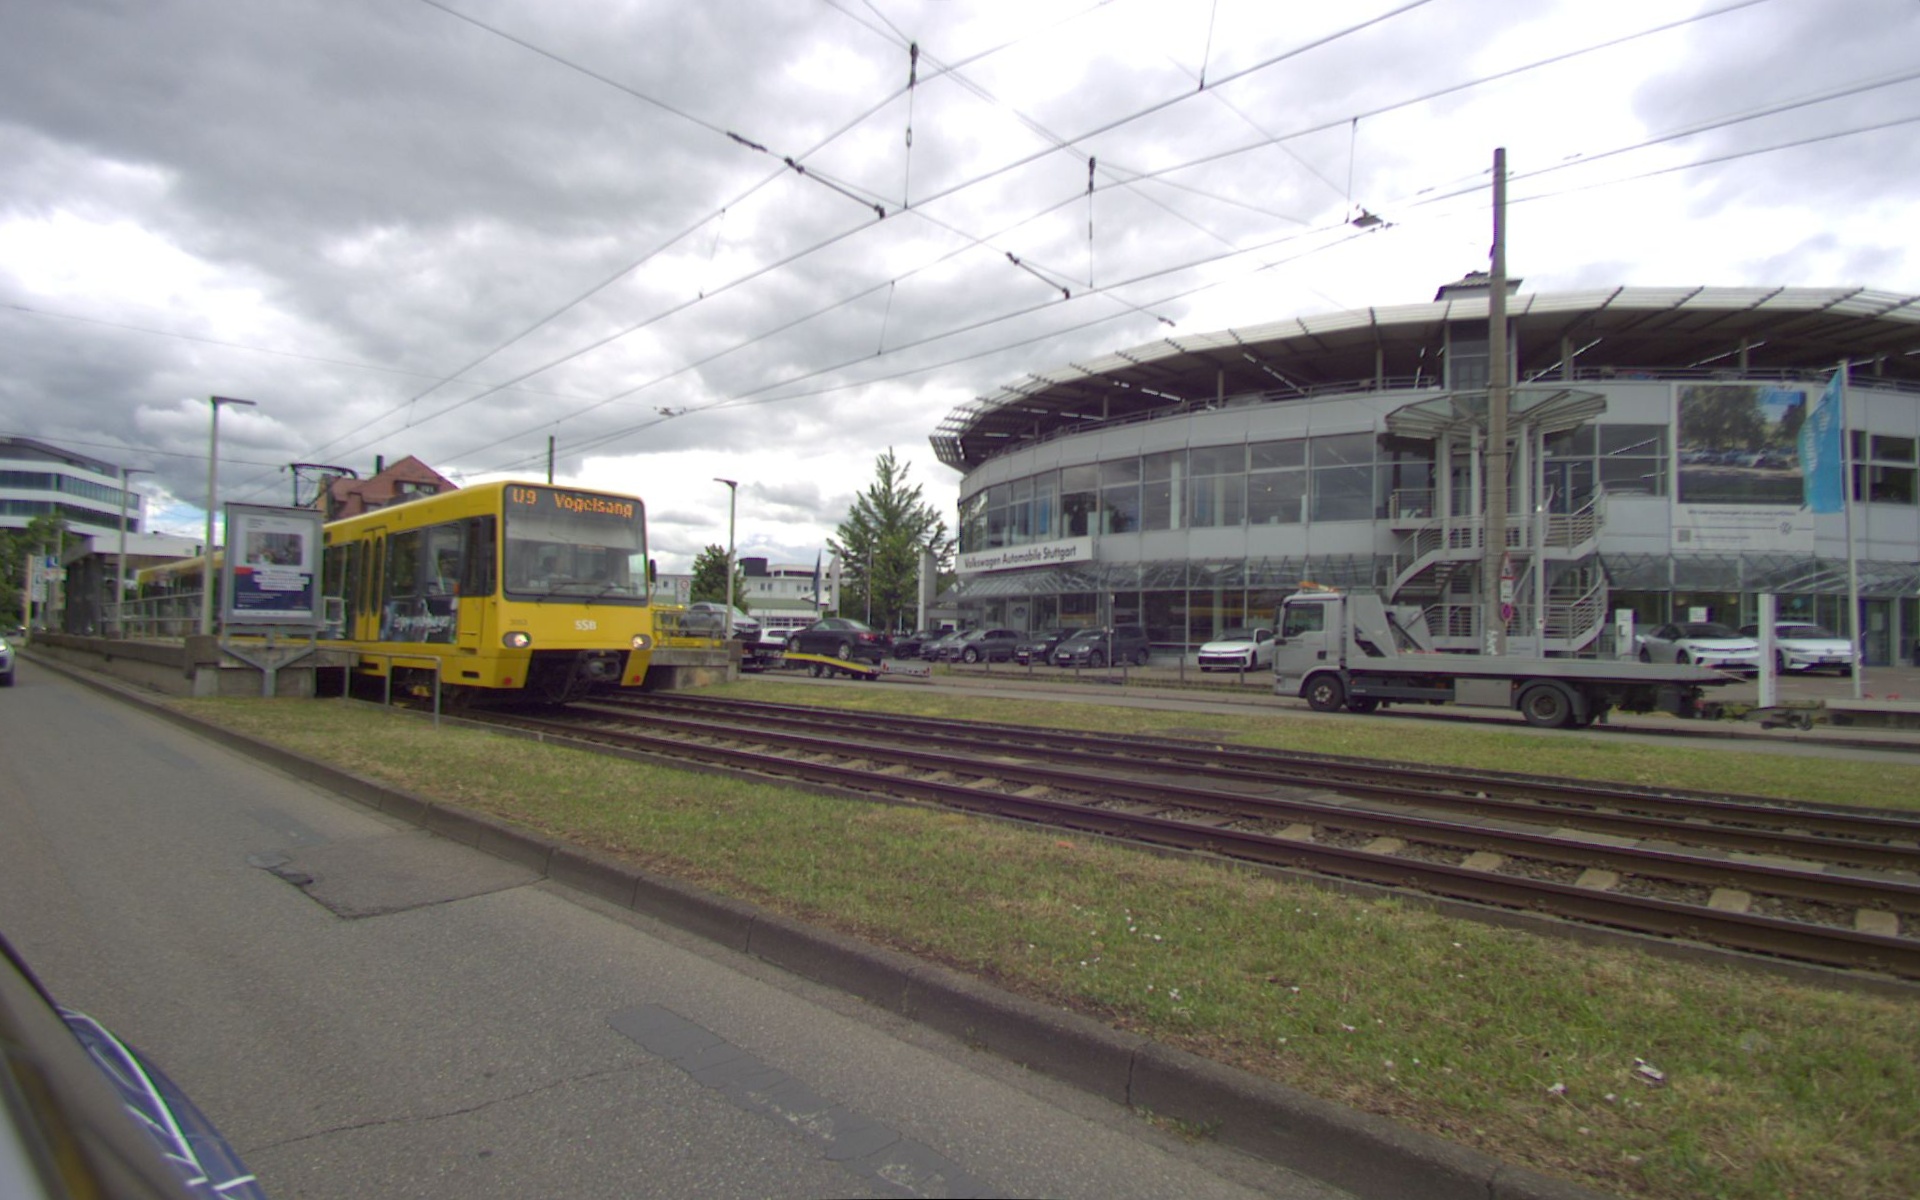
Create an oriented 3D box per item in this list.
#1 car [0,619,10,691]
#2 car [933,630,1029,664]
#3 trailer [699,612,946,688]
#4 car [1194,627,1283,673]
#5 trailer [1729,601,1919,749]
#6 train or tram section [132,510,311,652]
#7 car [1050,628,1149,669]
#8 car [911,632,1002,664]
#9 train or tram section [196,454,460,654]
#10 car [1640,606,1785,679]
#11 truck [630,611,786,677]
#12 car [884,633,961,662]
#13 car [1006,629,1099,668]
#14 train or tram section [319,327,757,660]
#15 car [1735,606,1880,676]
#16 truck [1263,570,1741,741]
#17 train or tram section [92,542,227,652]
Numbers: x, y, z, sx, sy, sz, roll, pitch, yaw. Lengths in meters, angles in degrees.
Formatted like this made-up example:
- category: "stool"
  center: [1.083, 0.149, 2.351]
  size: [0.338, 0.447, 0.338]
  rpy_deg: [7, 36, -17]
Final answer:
- category: "car"
  center: [-23.152, 1.231, 23.206]
  size: [1.888, 1.581, 4.118]
  rpy_deg: [2, -2, -42]
- category: "car"
  center: [0.948, 2.094, 45.564]
  size: [3.930, 1.497, 1.802]
  rpy_deg: [1, -2, -25]
- category: "trailer"
  center: [-5.100, 1.668, 35.570]
  size: [10.021, 2.338, 2.824]
  rpy_deg: [-1, -3, 42]
- category: "car"
  center: [9.671, 1.680, 34.994]
  size: [1.791, 1.497, 3.953]
  rpy_deg: [-1, -2, 34]
- category: "trailer"
  center: [15.804, 1.137, 14.558]
  size: [7.320, 2.144, 2.266]
  rpy_deg: [-2, -6, 44]
- category: "train or tram section"
  center: [-24.791, -0.283, 33.614]
  size: [11.914, 3.997, 2.710]
  rpy_deg: [-3, -4, 44]
- category: "car"
  center: [5.439, 1.844, 39.072]
  size: [1.797, 1.497, 3.941]
  rpy_deg: [-2, -3, 45]
- category: "car"
  center: [-0.163, 2.269, 48.265]
  size: [3.930, 1.497, 1.802]
  rpy_deg: [1, -2, -25]
- category: "train or tram section"
  center: [-16.193, -0.677, 25.292]
  size: [11.914, 3.997, 2.710]
  rpy_deg: [-3, -4, 44]
- category: "car"
  center: [21.728, 1.163, 29.431]
  size: [1.983, 1.785, 3.978]
  rpy_deg: [5, 1, 16]
- category: "truck"
  center: [-10.052, 1.705, 39.994]
  size: [6.452, 2.415, 2.798]
  rpy_deg: [-1, -3, 41]
- category: "car"
  center: [-2.019, 2.482, 53.230]
  size: [3.939, 1.497, 1.798]
  rpy_deg: [1, -2, -5]
- category: "car"
  center: [3.845, 1.963, 41.582]
  size: [1.795, 1.497, 3.944]
  rpy_deg: [-1, -2, 42]
- category: "train or tram section"
  center: [-7.604, -1.090, 16.992]
  size: [10.198, 4.096, 2.938]
  rpy_deg: [-3, -4, 44]
- category: "car"
  center: [24.817, 1.153, 29.824]
  size: [1.986, 1.785, 3.972]
  rpy_deg: [3, 0, 21]
- category: "truck"
  center: [10.236, 0.959, 19.971]
  size: [8.024, 2.760, 2.259]
  rpy_deg: [-1, -3, 44]
- category: "train or tram section"
  center: [-33.364, 0.130, 41.923]
  size: [11.914, 3.997, 2.710]
  rpy_deg: [-3, -4, 44]
